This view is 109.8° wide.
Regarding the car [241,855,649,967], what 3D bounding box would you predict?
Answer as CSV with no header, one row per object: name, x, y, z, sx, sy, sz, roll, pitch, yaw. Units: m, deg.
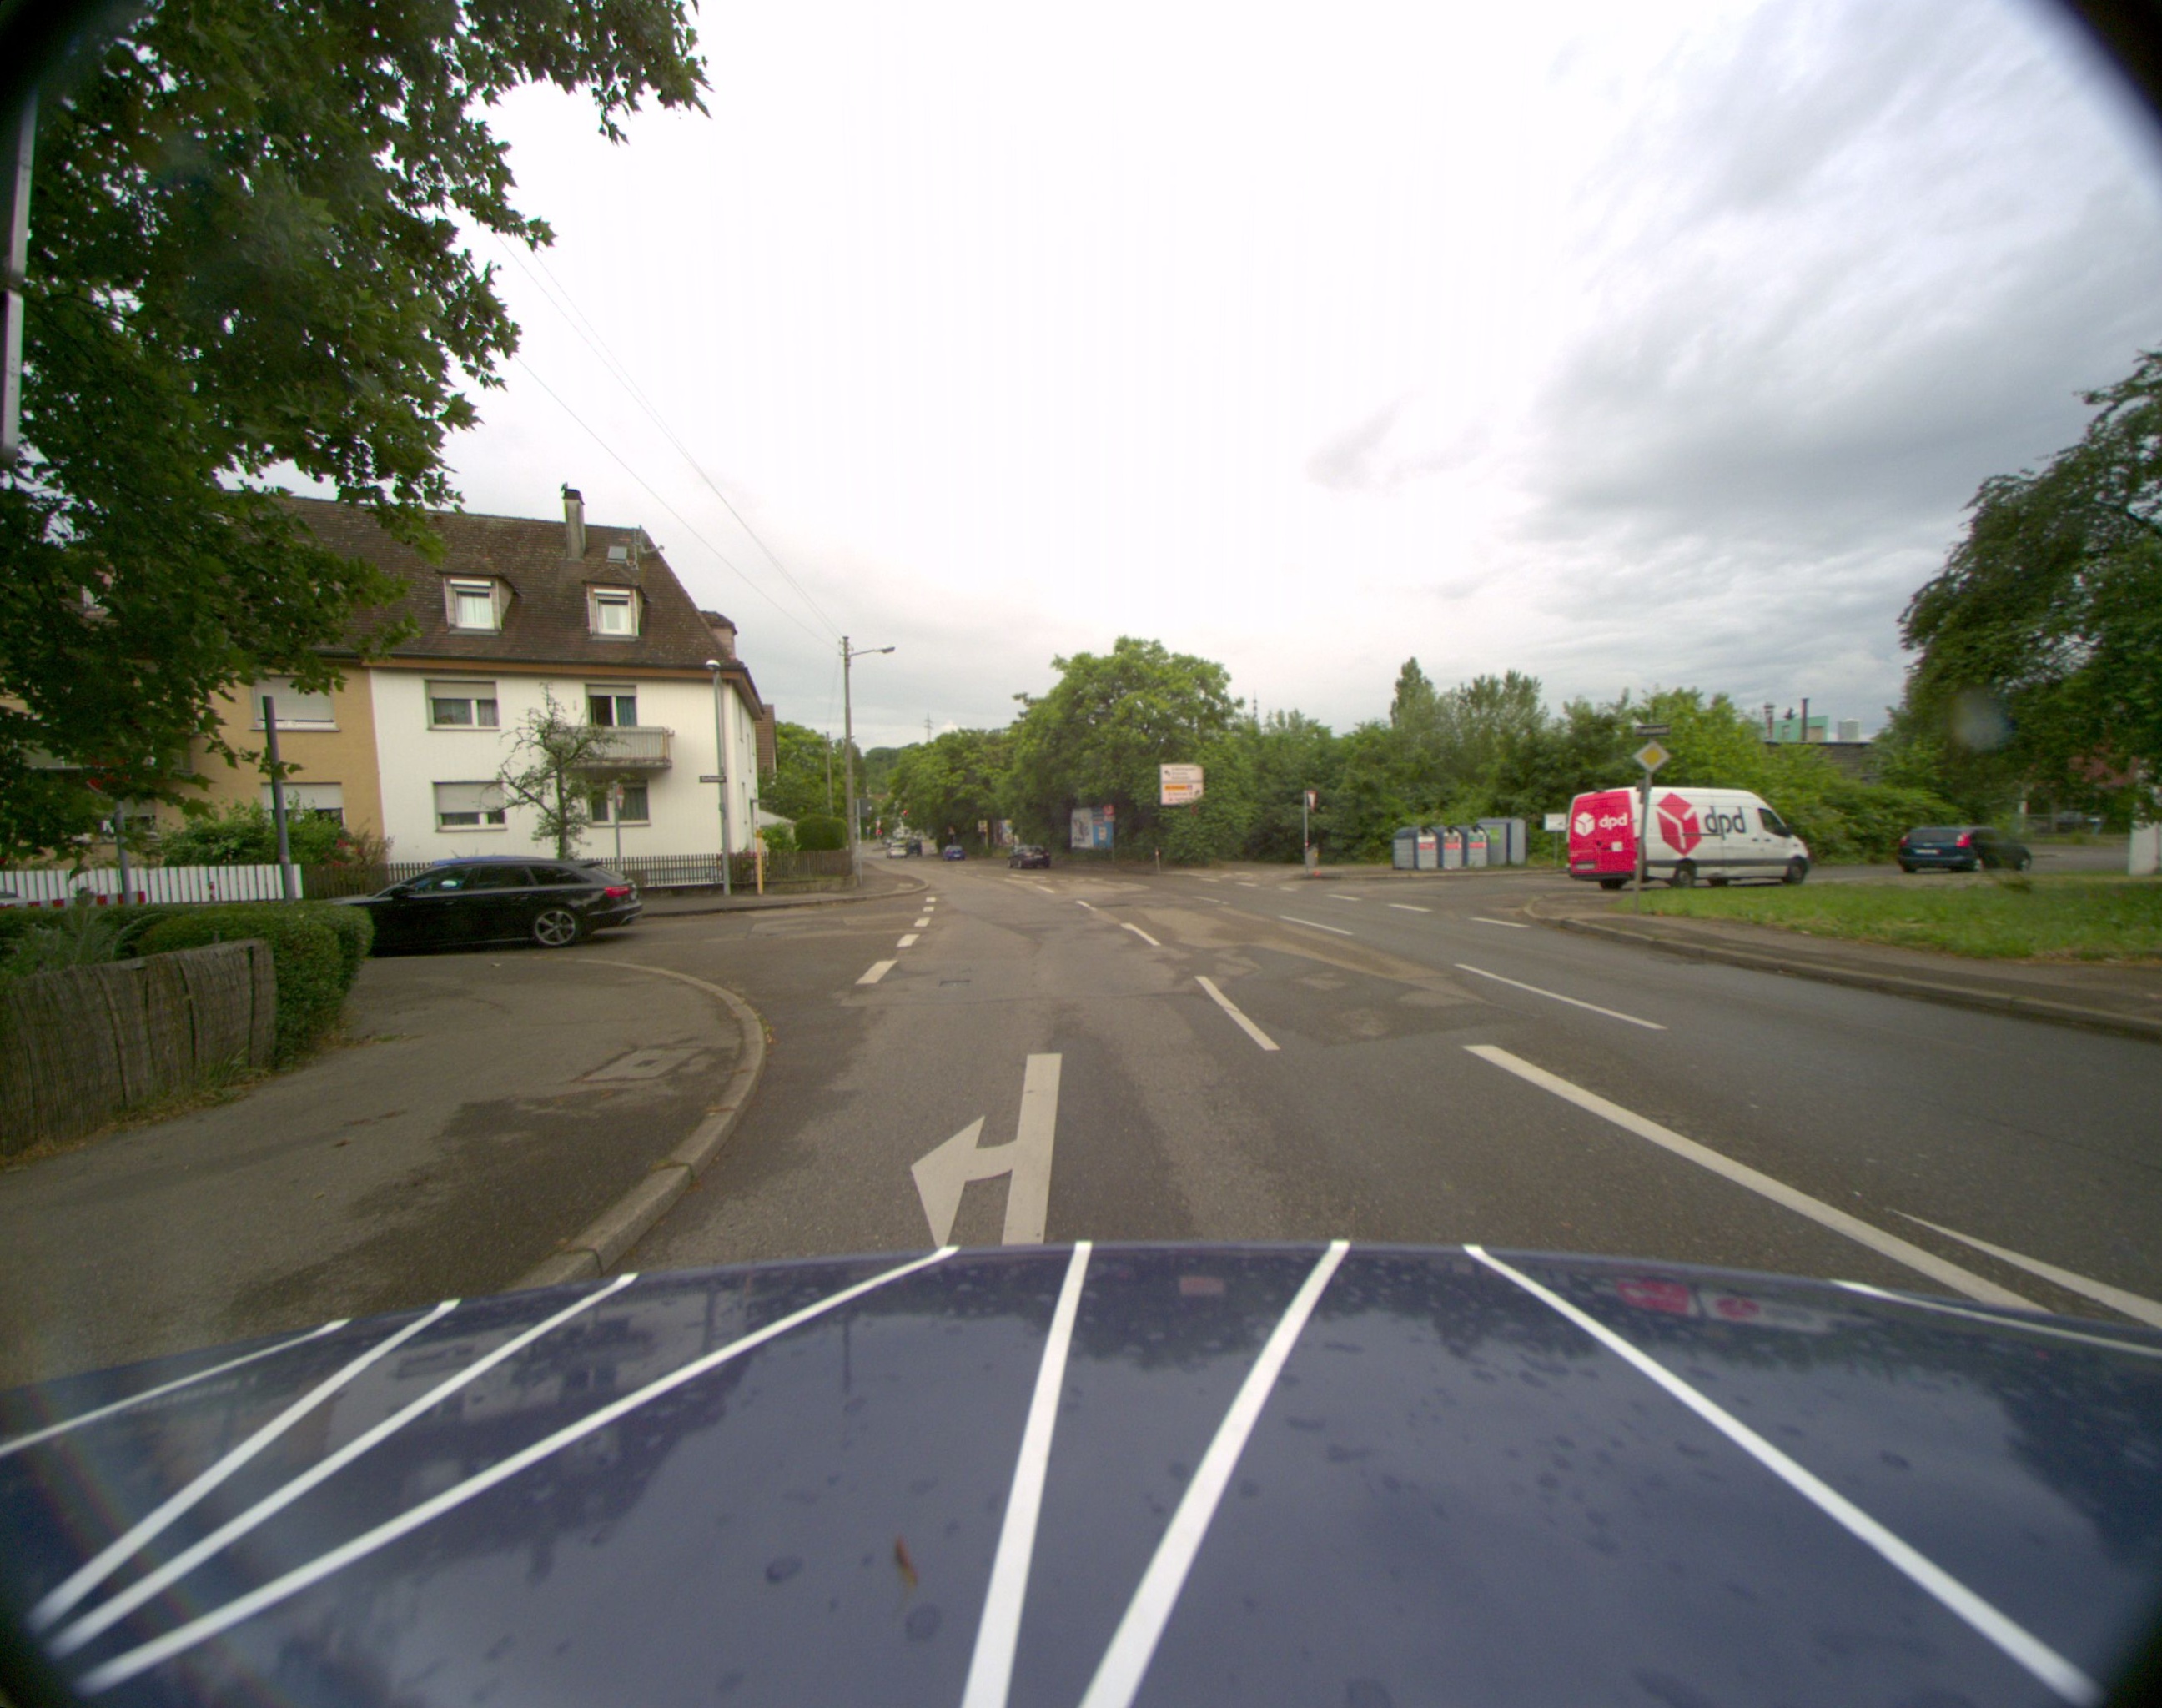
car,-10.056,0.810,12.619,4.824,1.472,1.882,-1,1,-24

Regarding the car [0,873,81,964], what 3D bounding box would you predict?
car,-19.472,1.117,12.164,3.788,1.445,1.769,-2,1,-20

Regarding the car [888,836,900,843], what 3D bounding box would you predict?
car,-37.012,-2.887,150.712,1.903,1.453,3.992,-2,1,-19

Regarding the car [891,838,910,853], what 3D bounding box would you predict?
car,-20.135,-0.985,84.547,1.838,1.570,4.326,-3,3,-16

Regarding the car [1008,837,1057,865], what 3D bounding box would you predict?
car,-2.962,-0.205,45.266,1.849,1.560,4.405,-2,1,-18

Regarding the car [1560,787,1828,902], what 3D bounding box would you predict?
car,16.164,-0.350,20.036,6.829,2.641,2.258,-2,2,-20

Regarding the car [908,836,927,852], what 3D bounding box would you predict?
car,-20.509,-1.226,95.324,1.965,1.920,4.675,-2,1,-17

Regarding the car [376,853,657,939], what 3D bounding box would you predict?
car,-11.123,0.759,15.358,4.130,1.472,1.883,-1,1,-17

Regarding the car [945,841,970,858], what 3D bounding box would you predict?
car,-11.217,-0.412,68.875,1.604,1.417,3.692,-3,0,-17

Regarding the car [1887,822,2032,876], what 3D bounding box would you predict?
car,30.142,-0.205,26.081,4.257,1.620,1.996,-3,2,-22
